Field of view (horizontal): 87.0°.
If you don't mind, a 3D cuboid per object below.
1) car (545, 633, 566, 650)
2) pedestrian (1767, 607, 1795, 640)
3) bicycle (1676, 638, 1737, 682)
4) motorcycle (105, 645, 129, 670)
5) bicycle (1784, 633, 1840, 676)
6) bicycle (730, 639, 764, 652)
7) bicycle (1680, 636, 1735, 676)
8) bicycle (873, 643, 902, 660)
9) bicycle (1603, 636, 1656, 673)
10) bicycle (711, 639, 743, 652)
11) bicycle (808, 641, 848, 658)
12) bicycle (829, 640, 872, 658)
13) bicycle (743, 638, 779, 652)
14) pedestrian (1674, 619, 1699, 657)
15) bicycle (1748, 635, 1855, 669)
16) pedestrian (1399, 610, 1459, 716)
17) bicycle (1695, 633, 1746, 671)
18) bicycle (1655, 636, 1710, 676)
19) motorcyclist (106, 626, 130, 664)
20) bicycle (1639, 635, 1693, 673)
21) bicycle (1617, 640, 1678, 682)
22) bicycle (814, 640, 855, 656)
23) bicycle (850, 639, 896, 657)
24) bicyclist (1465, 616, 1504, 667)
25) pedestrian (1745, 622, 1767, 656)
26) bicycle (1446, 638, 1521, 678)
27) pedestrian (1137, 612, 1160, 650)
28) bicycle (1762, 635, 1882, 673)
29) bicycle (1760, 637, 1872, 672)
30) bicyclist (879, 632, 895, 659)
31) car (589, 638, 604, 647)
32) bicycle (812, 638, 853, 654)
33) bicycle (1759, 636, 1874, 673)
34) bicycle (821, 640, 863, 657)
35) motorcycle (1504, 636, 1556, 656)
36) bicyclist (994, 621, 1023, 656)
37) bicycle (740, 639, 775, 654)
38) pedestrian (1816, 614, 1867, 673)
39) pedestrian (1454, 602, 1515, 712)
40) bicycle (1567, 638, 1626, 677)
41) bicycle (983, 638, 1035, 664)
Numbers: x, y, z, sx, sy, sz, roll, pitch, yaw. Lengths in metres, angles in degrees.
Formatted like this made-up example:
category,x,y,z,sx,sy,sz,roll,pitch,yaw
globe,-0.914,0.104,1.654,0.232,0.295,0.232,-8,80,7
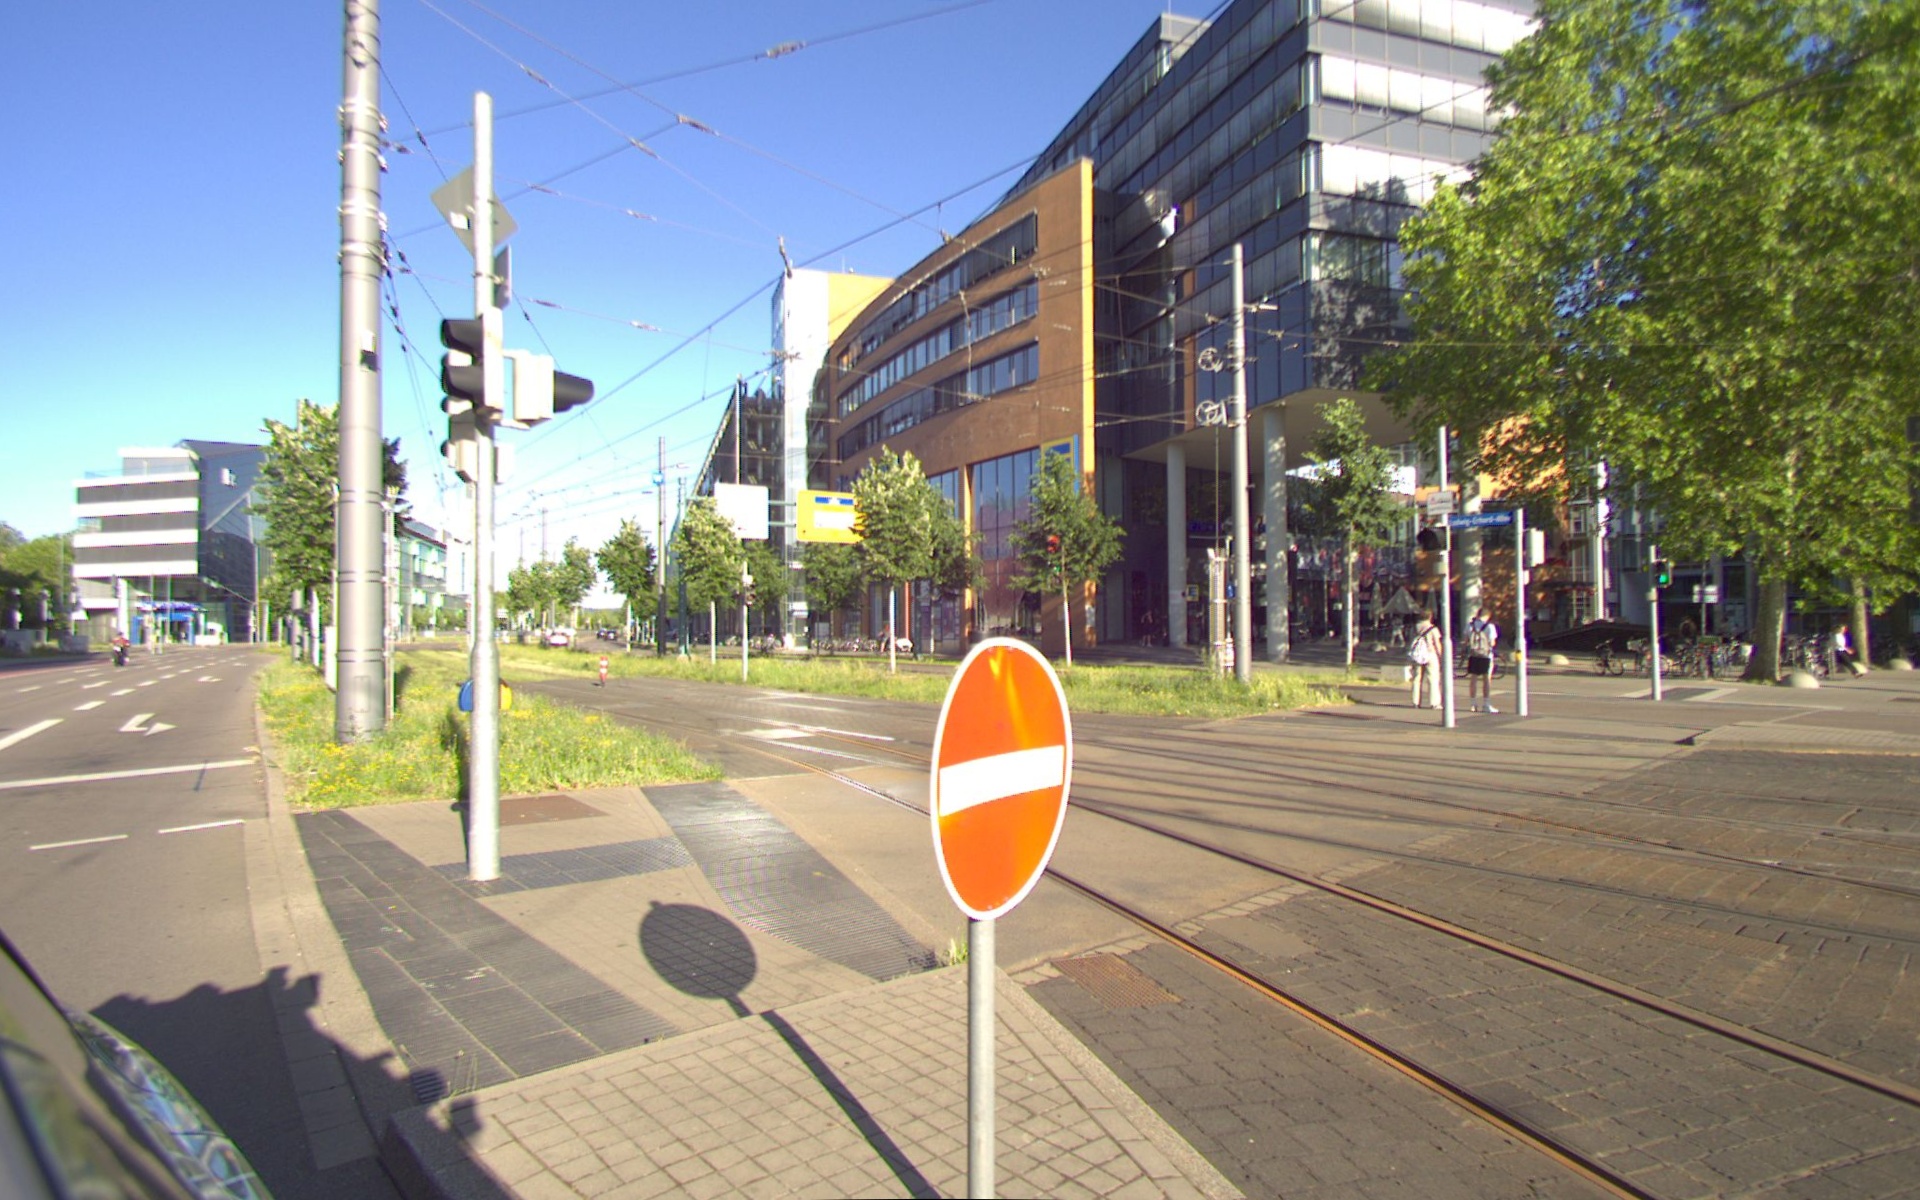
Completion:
category,x,y,z,sx,sy,sz,roll,pitch,yaw
car,-37.832,3.853,94.543,1.599,1.539,4.819,0,-2,-24
pedestrian,40.120,1.147,49.474,0.723,1.635,0.699,0,-2,-4
bicycle,20.428,1.624,27.675,2.327,1.137,0.600,1,-3,-35
motorcycle,-42.508,2.904,51.055,0.808,1.230,2.260,2,-3,-37
bicycle,23.794,1.509,28.248,2.328,1.137,0.600,1,-3,-36
bicycle,-17.712,3.797,84.318,2.645,1.112,0.899,1,-3,-24
bicycle,22.118,1.630,29.915,2.328,1.137,0.600,1,-3,-36
bicycle,-4.131,2.909,57.637,0.680,0.957,2.072,1,-2,-36
bicycle,21.399,1.716,32.334,2.328,1.137,0.600,1,-3,-36
bicycle,-20.550,4.023,89.236,2.645,1.112,0.899,1,-3,-24
bicycle,-9.345,3.486,71.420,2.645,1.112,0.899,1,-3,-24
bicycle,-7.162,3.199,66.383,2.645,1.112,0.899,1,-3,-24
bicycle,-15.558,3.528,79.144,2.645,1.112,0.899,1,-3,-24
pedestrian,32.634,1.696,45.476,0.694,1.665,0.700,1,-2,-37
bicycle,34.898,2.142,42.050,3.359,1.364,1.021,-2,-3,40
pedestrian,8.598,1.136,18.554,0.721,1.884,0.701,1,-3,-36
bicycle,23.848,1.618,31.716,2.328,1.137,0.600,1,-3,-36
bicycle,21.787,1.673,30.500,2.328,1.137,0.600,1,-3,-36
motorcyclist,-42.596,2.282,51.208,0.808,1.871,1.114,2,-3,-37
bicycle,21.935,1.675,31.425,2.328,1.137,0.600,1,-3,-36
bicycle,19.548,1.709,28.761,2.327,1.137,0.600,1,-3,-35
bicycle,-8.567,3.268,69.047,2.645,1.112,0.899,1,-3,-24
bicycle,-5.321,2.937,62.070,2.645,1.112,0.899,1,-3,-24
bicyclist,15.522,1.223,29.945,0.682,1.472,0.756,1,-3,-35
pedestrian,41.787,2.038,53.128,0.722,1.727,0.700,1,-2,-38
bicycle,15.485,1.700,29.985,0.682,1.145,1.856,1,-3,-35
pedestrian,8.638,1.412,46.399,0.721,1.718,0.701,1,-3,-36
bicycle,32.131,2.004,37.819,3.359,1.364,1.021,-2,-3,40
bicycle,34.252,2.165,40.602,3.359,1.364,1.021,-2,-3,40
bicyclist,-4.157,2.601,57.674,0.680,1.541,0.704,1,-2,-36
car,-59.647,7.000,166.014,1.600,1.539,4.365,1,-3,-11
bicycle,-8.867,3.196,70.347,2.645,1.112,0.899,1,-3,-24
bicycle,33.298,2.098,39.446,3.359,1.364,1.021,-2,-3,40
bicycle,-7.881,3.232,67.518,2.645,1.112,0.899,1,-3,-24
motorcycle,30.347,2.437,53.914,0.818,1.066,2.350,1,-2,-26
bicyclist,2.181,1.760,45.766,0.881,1.560,0.941,1,-3,-34
bicycle,-16.212,3.711,80.975,2.645,1.112,0.899,1,-3,-24
pedestrian,25.880,1.291,29.713,0.704,1.693,0.834,1,-4,-28
pedestrian,9.291,0.996,17.929,0.722,1.884,0.674,1,-3,-38
bicycle,19.074,1.702,30.307,2.327,1.137,0.600,1,-3,-35
bicycle,2.185,2.298,45.739,0.881,1.112,2.698,1,-3,-34
